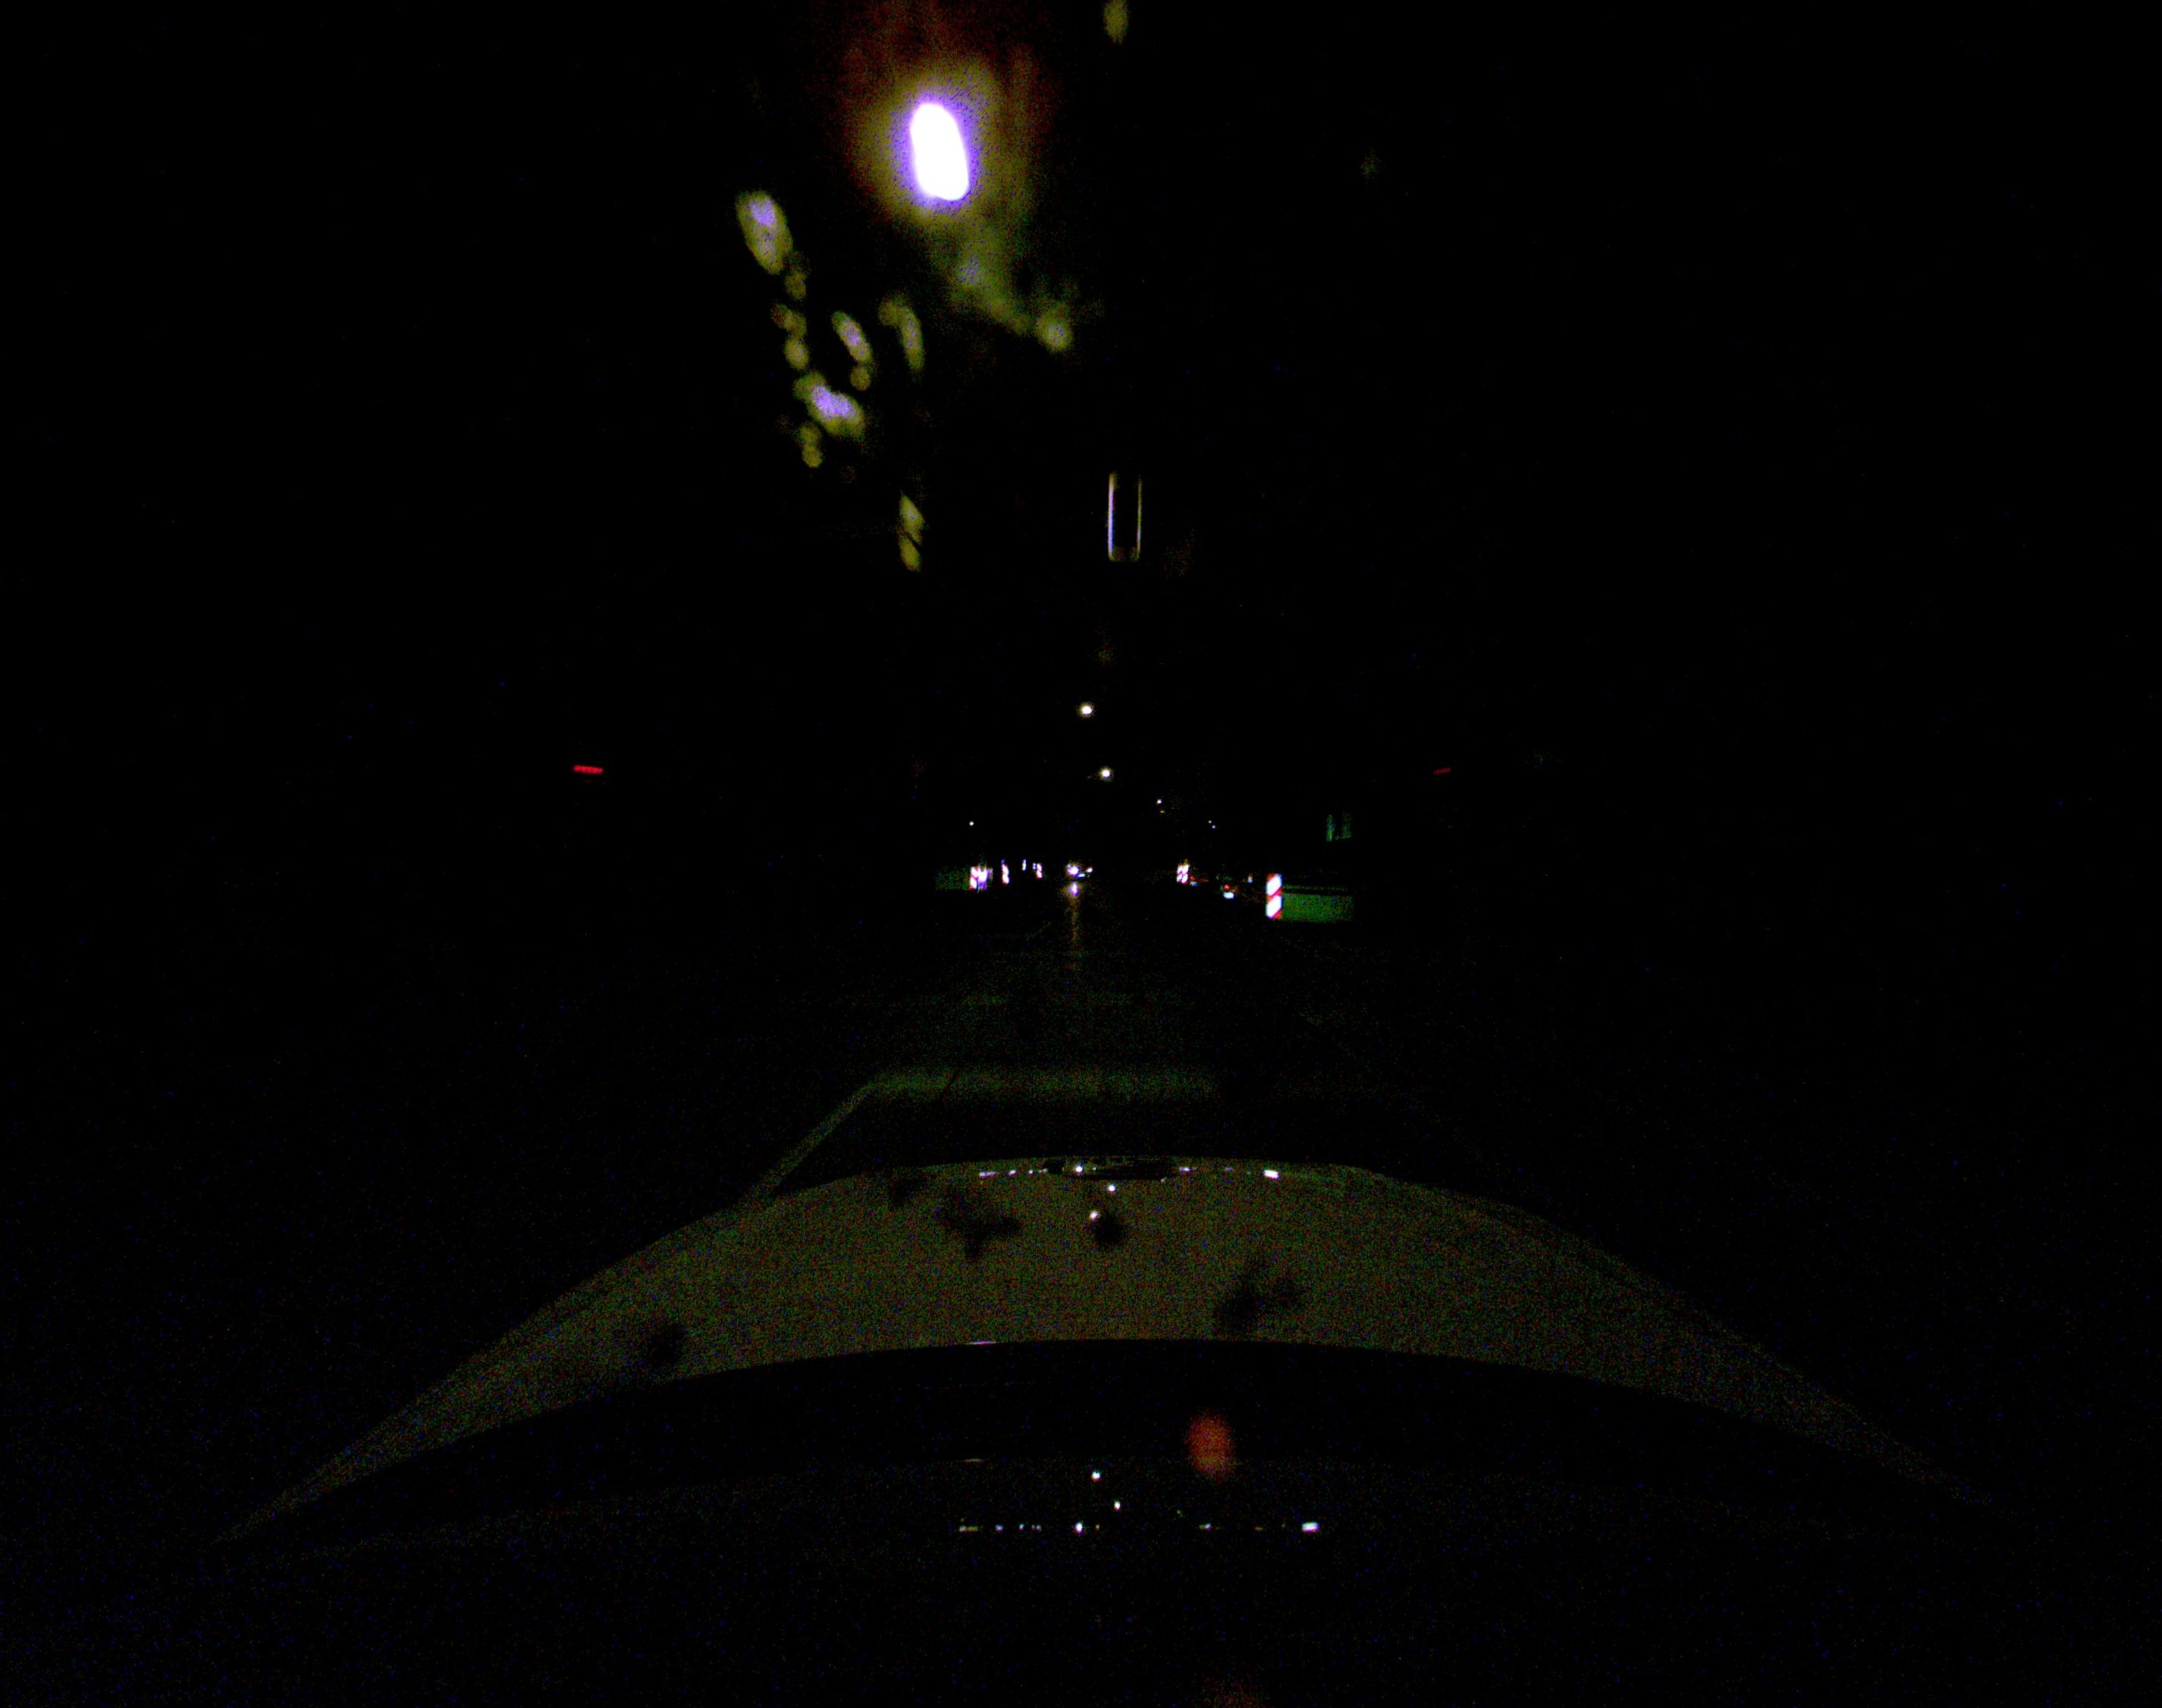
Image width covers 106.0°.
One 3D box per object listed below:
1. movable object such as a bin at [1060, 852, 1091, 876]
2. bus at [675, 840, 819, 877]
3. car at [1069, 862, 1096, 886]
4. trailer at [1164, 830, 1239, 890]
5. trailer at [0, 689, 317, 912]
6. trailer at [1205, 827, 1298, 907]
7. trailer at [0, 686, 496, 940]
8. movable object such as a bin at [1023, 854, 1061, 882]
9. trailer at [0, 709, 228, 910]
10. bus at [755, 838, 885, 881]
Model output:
[{"bbox_3d":[-0.530,1.037,82.680,1.979,2.376,4.720,0,-1,15],"label":"movable object such as a bin"},{"bbox_3d":[-29.174,0.405,72.091,2.915,2.983,12.352,0,0,32],"label":"bus"},{"bbox_3d":[0.128,1.407,58.044,1.689,1.576,2.959,-2,-1,3],"label":"car"},{"bbox_3d":[6.914,0.375,47.441,3.471,3.219,4.863,2,-1,-1],"label":"trailer"},{"bbox_3d":[-22.728,-1.105,13.058,3.030,4.148,15.087,2,-1,25],"label":"trailer"},{"bbox_3d":[6.666,0.522,32.505,2.605,2.846,4.707,2,-1,-1],"label":"trailer"},{"bbox_3d":[-18.182,-0.680,13.181,3.034,3.932,15.071,2,0,18],"label":"trailer"},{"bbox_3d":[-3.325,1.178,70.464,1.979,2.376,4.721,0,0,15],"label":"movable object such as a bin"},{"bbox_3d":[-26.464,-1.100,14.620,3.031,4.357,15.084,2,-1,24],"label":"trailer"},{"bbox_3d":[-21.298,0.451,67.744,2.987,3.204,12.736,0,0,20],"label":"bus"}]
